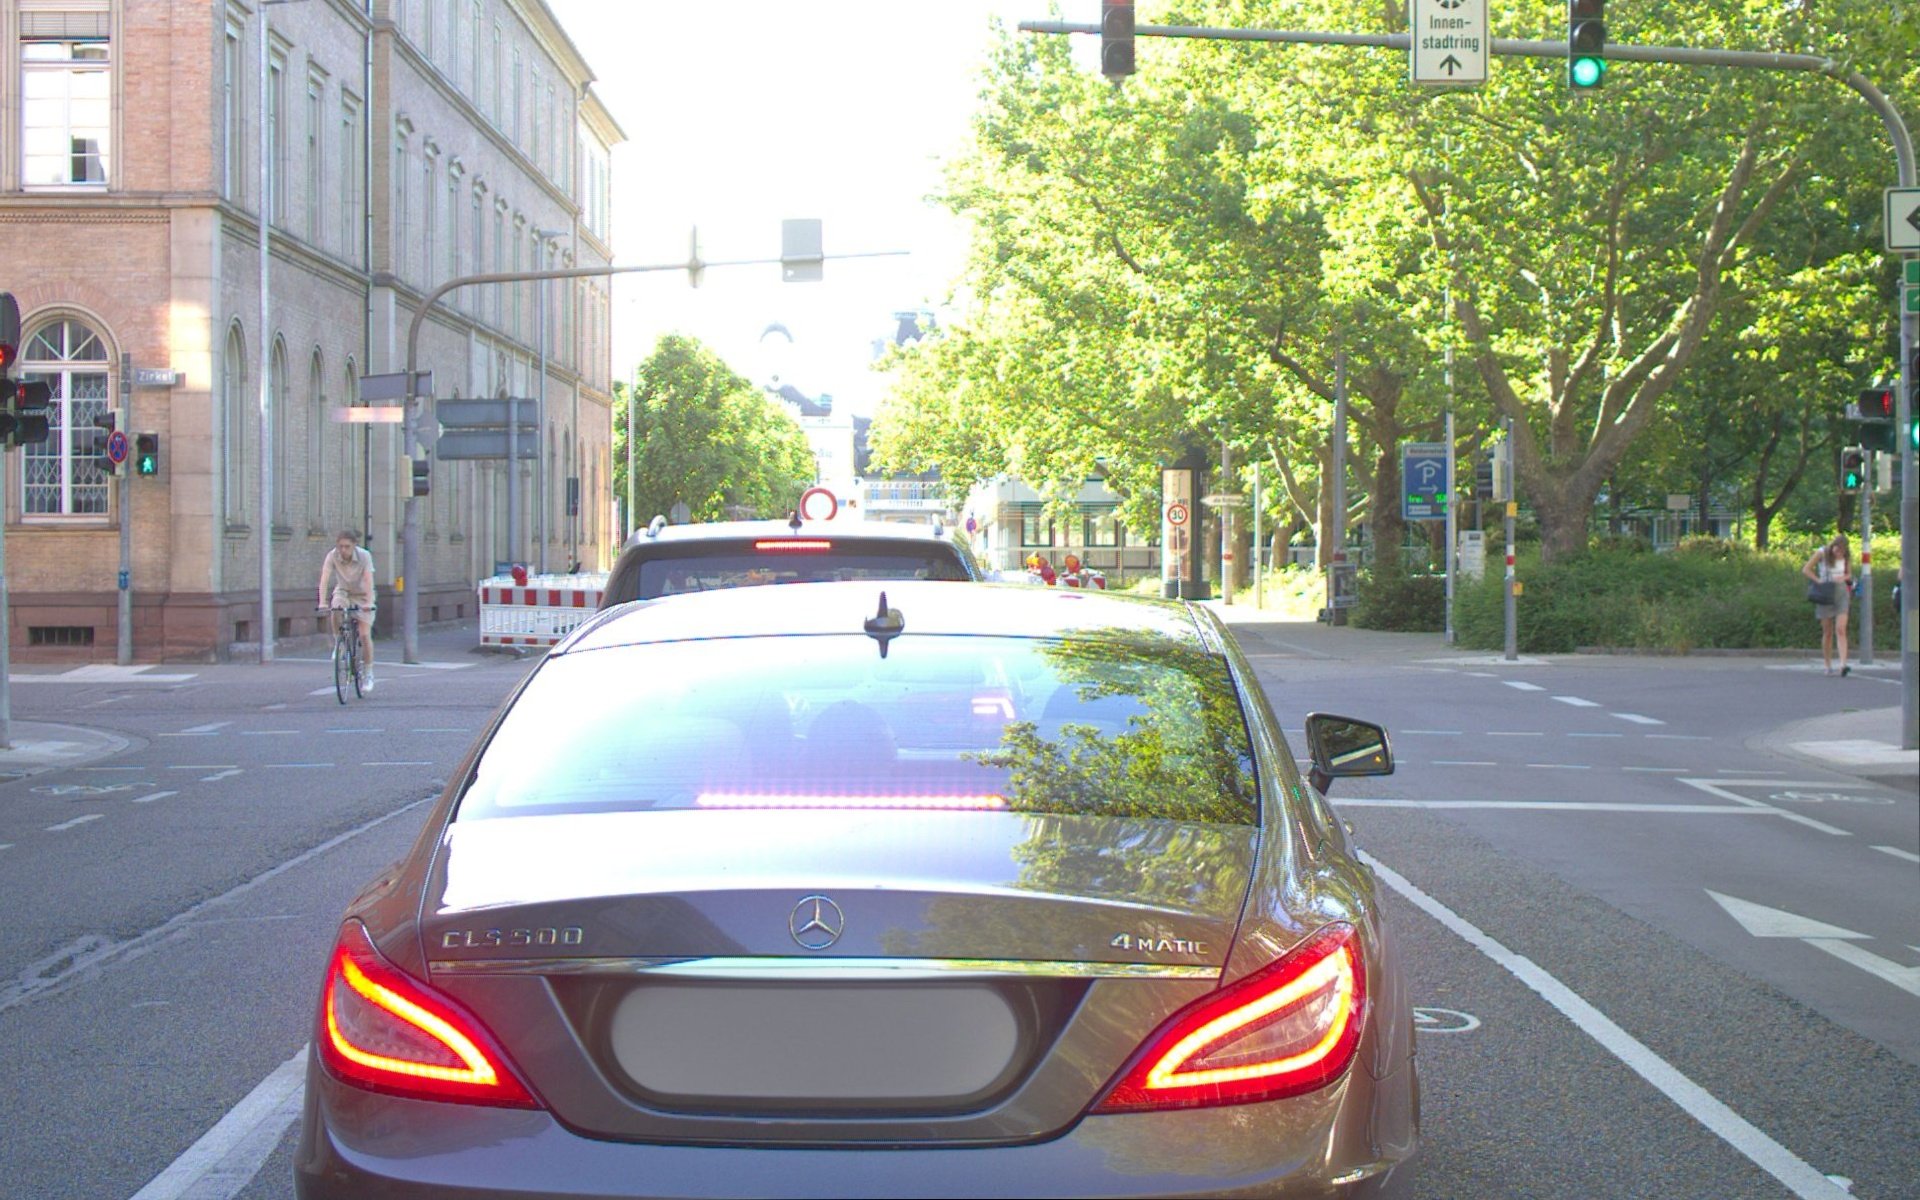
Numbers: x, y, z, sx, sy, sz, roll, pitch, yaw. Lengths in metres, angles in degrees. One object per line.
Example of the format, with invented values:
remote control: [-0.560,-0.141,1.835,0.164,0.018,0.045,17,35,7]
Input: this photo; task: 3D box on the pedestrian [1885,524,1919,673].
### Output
pedestrian: [11.045,-0.015,39.511,0.683,1.691,0.970,1,0,9]

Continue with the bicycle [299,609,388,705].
bicycle: [-6.049,0.545,33.812,0.548,0.888,1.868,1,1,-1]

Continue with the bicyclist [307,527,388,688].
bicyclist: [-6.023,0.069,33.819,0.648,1.553,0.807,1,0,-1]

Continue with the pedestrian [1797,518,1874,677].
pedestrian: [10.083,-0.022,39.614,0.732,1.802,0.909,-1,-1,7]

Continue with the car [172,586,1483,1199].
car: [-0.002,0.706,7.079,1.843,1.424,4.516,1,1,5]

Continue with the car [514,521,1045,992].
car: [-0.582,0.516,13.756,1.809,1.607,4.000,0,1,1]
